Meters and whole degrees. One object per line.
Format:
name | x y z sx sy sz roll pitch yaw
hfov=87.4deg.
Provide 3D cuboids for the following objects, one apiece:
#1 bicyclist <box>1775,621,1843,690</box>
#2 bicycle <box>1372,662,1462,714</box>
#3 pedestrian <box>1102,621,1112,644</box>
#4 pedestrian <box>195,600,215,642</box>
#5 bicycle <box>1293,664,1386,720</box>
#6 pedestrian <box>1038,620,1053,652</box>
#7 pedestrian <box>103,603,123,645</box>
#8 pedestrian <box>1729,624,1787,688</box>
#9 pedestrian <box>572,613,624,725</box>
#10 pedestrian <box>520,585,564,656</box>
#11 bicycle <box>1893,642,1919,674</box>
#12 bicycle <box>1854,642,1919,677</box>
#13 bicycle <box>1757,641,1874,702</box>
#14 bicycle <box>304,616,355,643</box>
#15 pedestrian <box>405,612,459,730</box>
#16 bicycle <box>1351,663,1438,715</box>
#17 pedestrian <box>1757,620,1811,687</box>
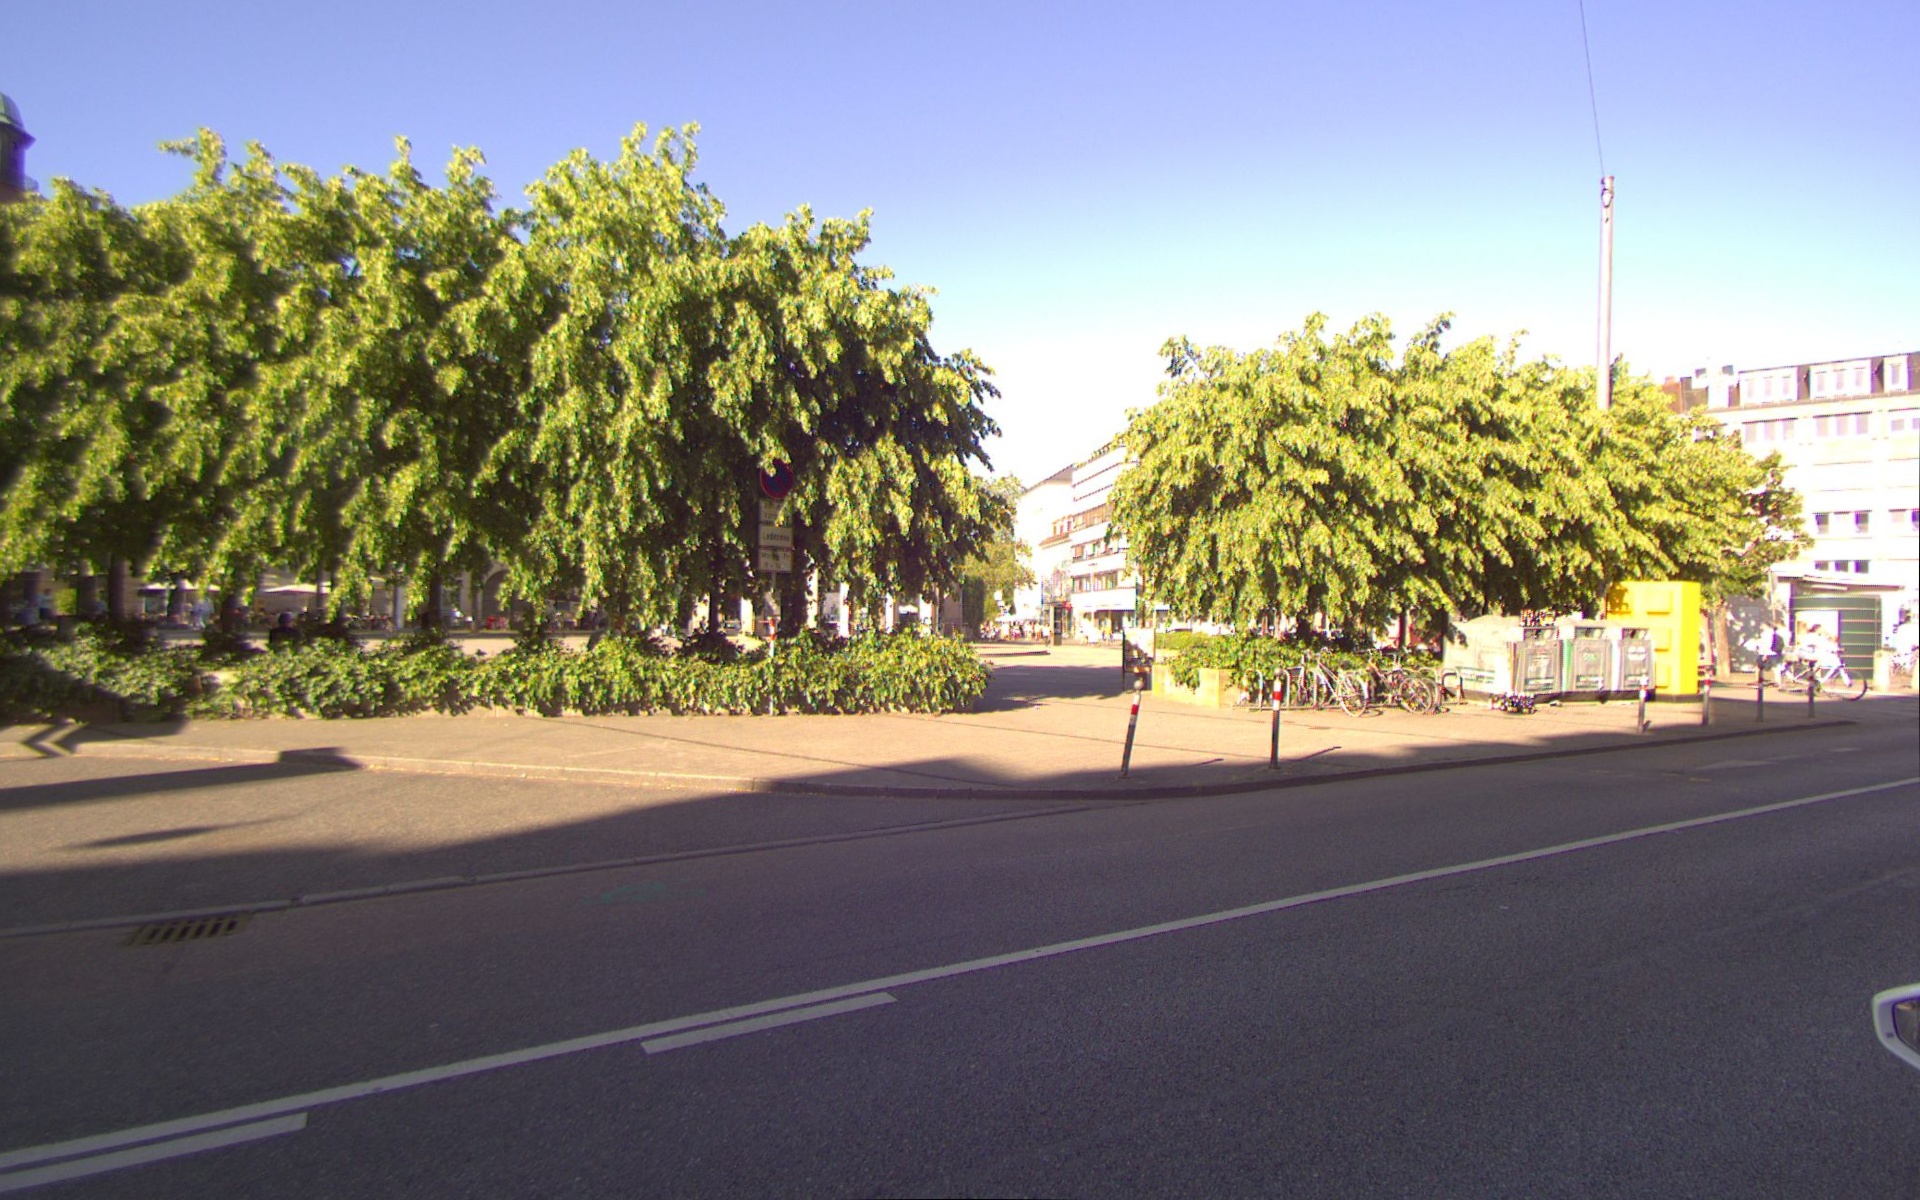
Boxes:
bicyclist | 20.325 1.317 24.065 0.617 1.610 1.098 1 -1 -13
bicycle | 7.997 1.527 17.621 0.468 0.779 1.468 2 0 -27
pedestrian | 11.829 2.638 80.829 0.591 1.816 0.581 1 0 -12
pedestrian | -32.775 0.910 43.586 0.597 1.816 0.575 2 0 -44
bicycle | 6.274 1.503 16.703 0.467 0.779 1.653 1 0 -20
pedestrian | 5.448 2.285 64.027 0.670 2.040 0.579 1 0 -23
pedestrian | -36.915 1.061 43.780 0.597 1.816 0.576 2 0 -40
pedestrian | 21.352 1.490 26.888 0.727 1.658 0.983 1 0 -26
pedestrian | -6.221 1.166 17.260 0.574 1.881 0.598 1 0 41
pedestrian | -10.736 0.531 25.815 0.918 1.775 0.728 1 0 -15
bicycle | 35.222 2.124 36.305 0.796 1.119 2.073 1 -1 -29
bicycle | 32.915 2.080 35.333 0.796 1.119 2.073 1 -1 -29
bicycle | 20.354 1.670 23.972 0.617 1.216 2.126 1 2 -13
bicycle | -25.395 1.180 40.442 2.018 1.030 0.504 1 0 16
pedestrian | -8.706 1.158 16.581 0.722 1.881 0.578 1 0 -28
bicycle | 7.495 1.521 17.386 0.435 0.779 1.469 2 0 -25
pedestrian | 22.209 1.420 27.088 0.734 1.748 0.898 1 0 -26
